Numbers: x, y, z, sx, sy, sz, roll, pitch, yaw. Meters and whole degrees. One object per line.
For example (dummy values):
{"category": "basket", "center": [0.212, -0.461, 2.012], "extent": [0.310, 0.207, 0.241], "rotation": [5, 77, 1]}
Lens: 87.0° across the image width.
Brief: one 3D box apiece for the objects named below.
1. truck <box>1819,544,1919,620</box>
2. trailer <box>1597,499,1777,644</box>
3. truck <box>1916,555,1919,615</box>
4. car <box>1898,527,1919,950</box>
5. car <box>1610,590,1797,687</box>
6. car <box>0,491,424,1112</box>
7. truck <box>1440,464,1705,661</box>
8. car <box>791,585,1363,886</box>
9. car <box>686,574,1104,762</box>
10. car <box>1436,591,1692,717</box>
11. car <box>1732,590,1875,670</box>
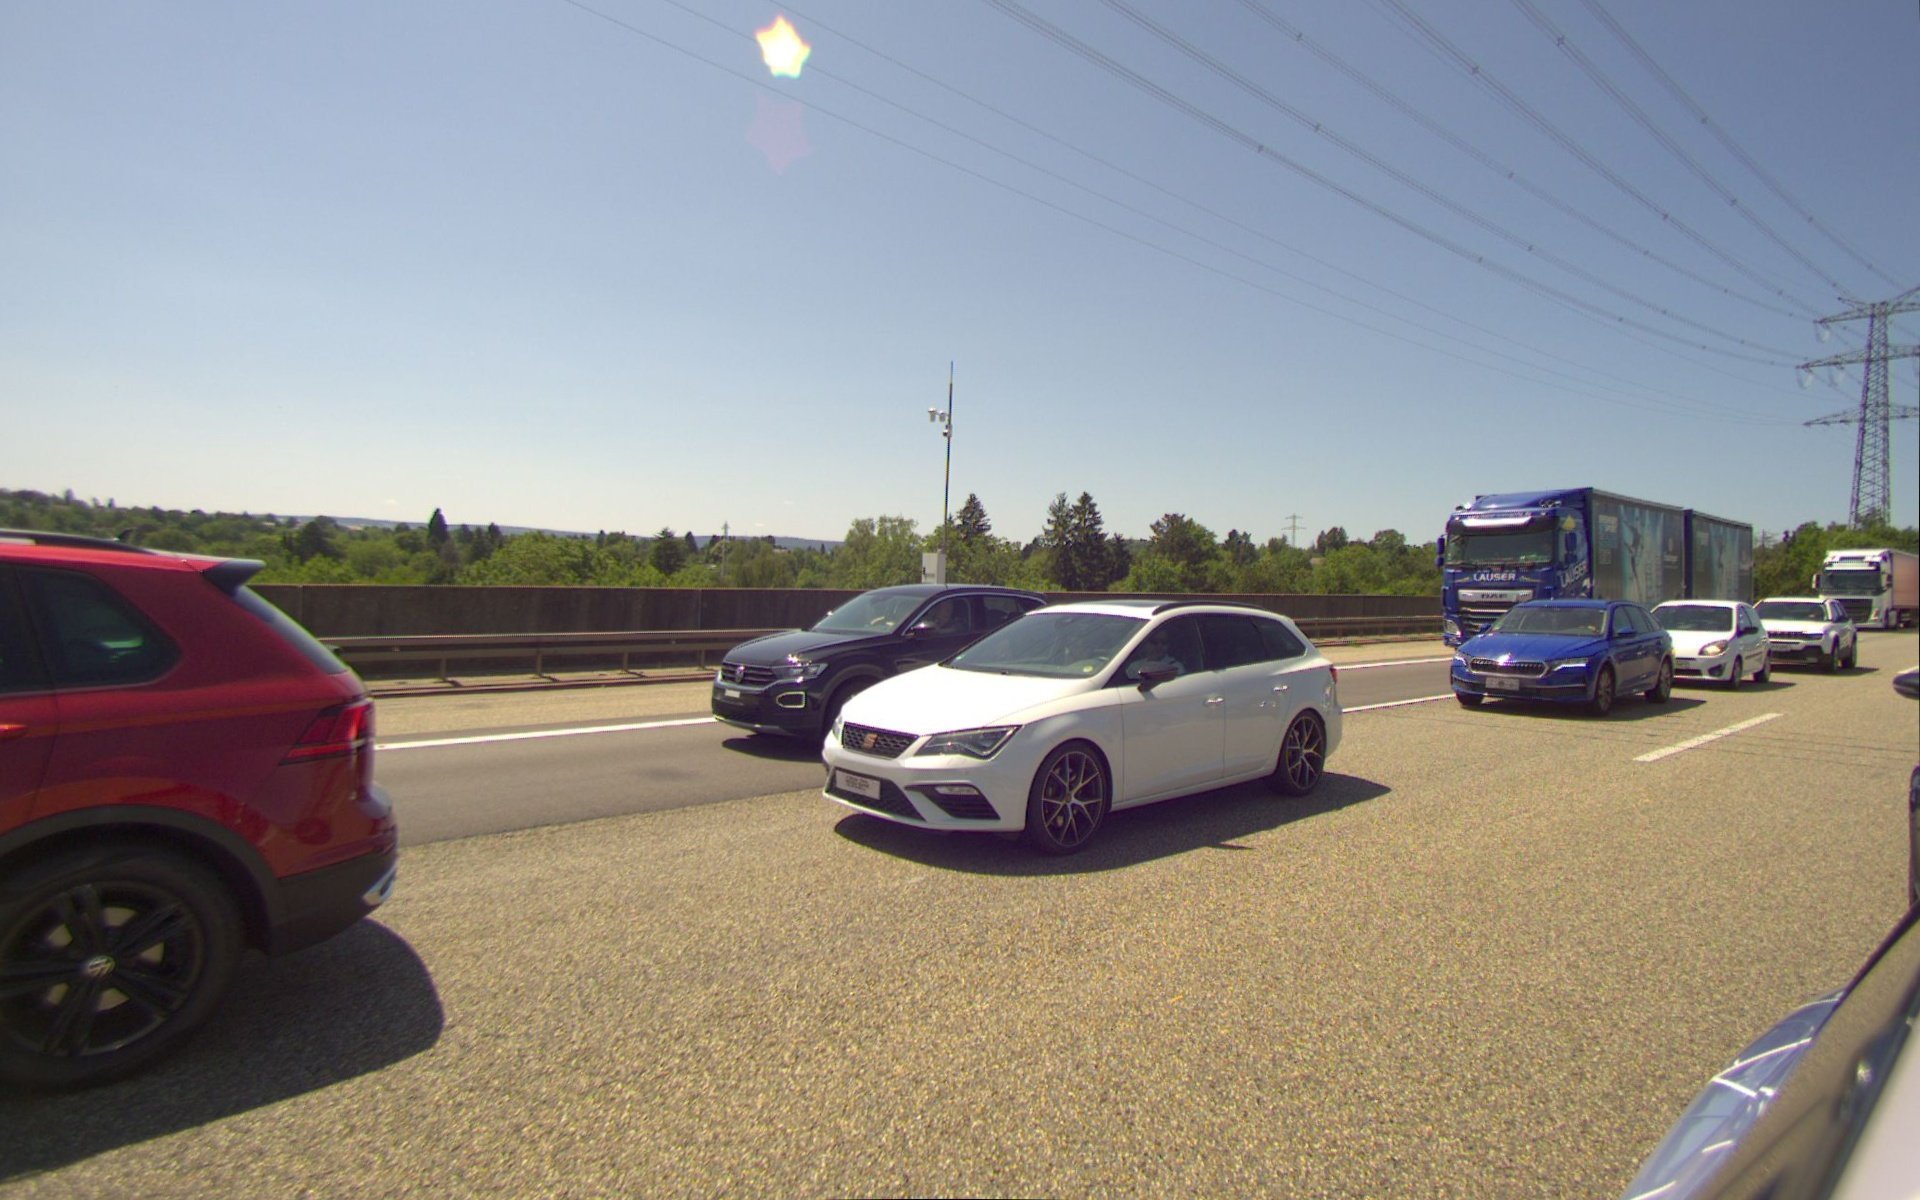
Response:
{"category": "truck", "center": [47.311, -0.892, 52.194], "extent": [10.776, 3.604, 2.983], "rotation": [0, 0, -41]}
{"category": "trailer", "center": [22.782, -0.823, 31.501], "extent": [8.329, 3.994, 2.571], "rotation": [0, 1, -40]}
{"category": "truck", "center": [70.486, -1.066, 72.298], "extent": [8.133, 4.133, 2.345], "rotation": [0, 0, -41]}
{"category": "car", "center": [5.810, 0.542, 4.707], "extent": [3.931, 1.683, 1.738], "rotation": [0, 0, -41]}
{"category": "car", "center": [13.258, 0.600, 17.973], "extent": [4.021, 1.522, 1.762], "rotation": [0, 1, -40]}
{"category": "car", "center": [-3.955, 0.533, 2.732], "extent": [4.151, 1.683, 1.778], "rotation": [0, 1, -41]}
{"category": "truck", "center": [15.711, -0.834, 25.448], "extent": [10.262, 4.117, 2.528], "rotation": [0, 1, -40]}
{"category": "car", "center": [1.009, 0.664, 7.107], "extent": [4.003, 1.508, 1.841], "rotation": [0, 0, -42]}
{"category": "car", "center": [-0.526, 0.547, 10.306], "extent": [4.034, 1.546, 1.739], "rotation": [0, 0, -41]}
{"category": "car", "center": [8.374, 0.628, 13.888], "extent": [4.135, 1.463, 1.739], "rotation": [0, 1, -40]}
{"category": "car", "center": [18.088, 0.575, 21.648], "extent": [4.024, 1.522, 1.761], "rotation": [0, 1, -42]}
